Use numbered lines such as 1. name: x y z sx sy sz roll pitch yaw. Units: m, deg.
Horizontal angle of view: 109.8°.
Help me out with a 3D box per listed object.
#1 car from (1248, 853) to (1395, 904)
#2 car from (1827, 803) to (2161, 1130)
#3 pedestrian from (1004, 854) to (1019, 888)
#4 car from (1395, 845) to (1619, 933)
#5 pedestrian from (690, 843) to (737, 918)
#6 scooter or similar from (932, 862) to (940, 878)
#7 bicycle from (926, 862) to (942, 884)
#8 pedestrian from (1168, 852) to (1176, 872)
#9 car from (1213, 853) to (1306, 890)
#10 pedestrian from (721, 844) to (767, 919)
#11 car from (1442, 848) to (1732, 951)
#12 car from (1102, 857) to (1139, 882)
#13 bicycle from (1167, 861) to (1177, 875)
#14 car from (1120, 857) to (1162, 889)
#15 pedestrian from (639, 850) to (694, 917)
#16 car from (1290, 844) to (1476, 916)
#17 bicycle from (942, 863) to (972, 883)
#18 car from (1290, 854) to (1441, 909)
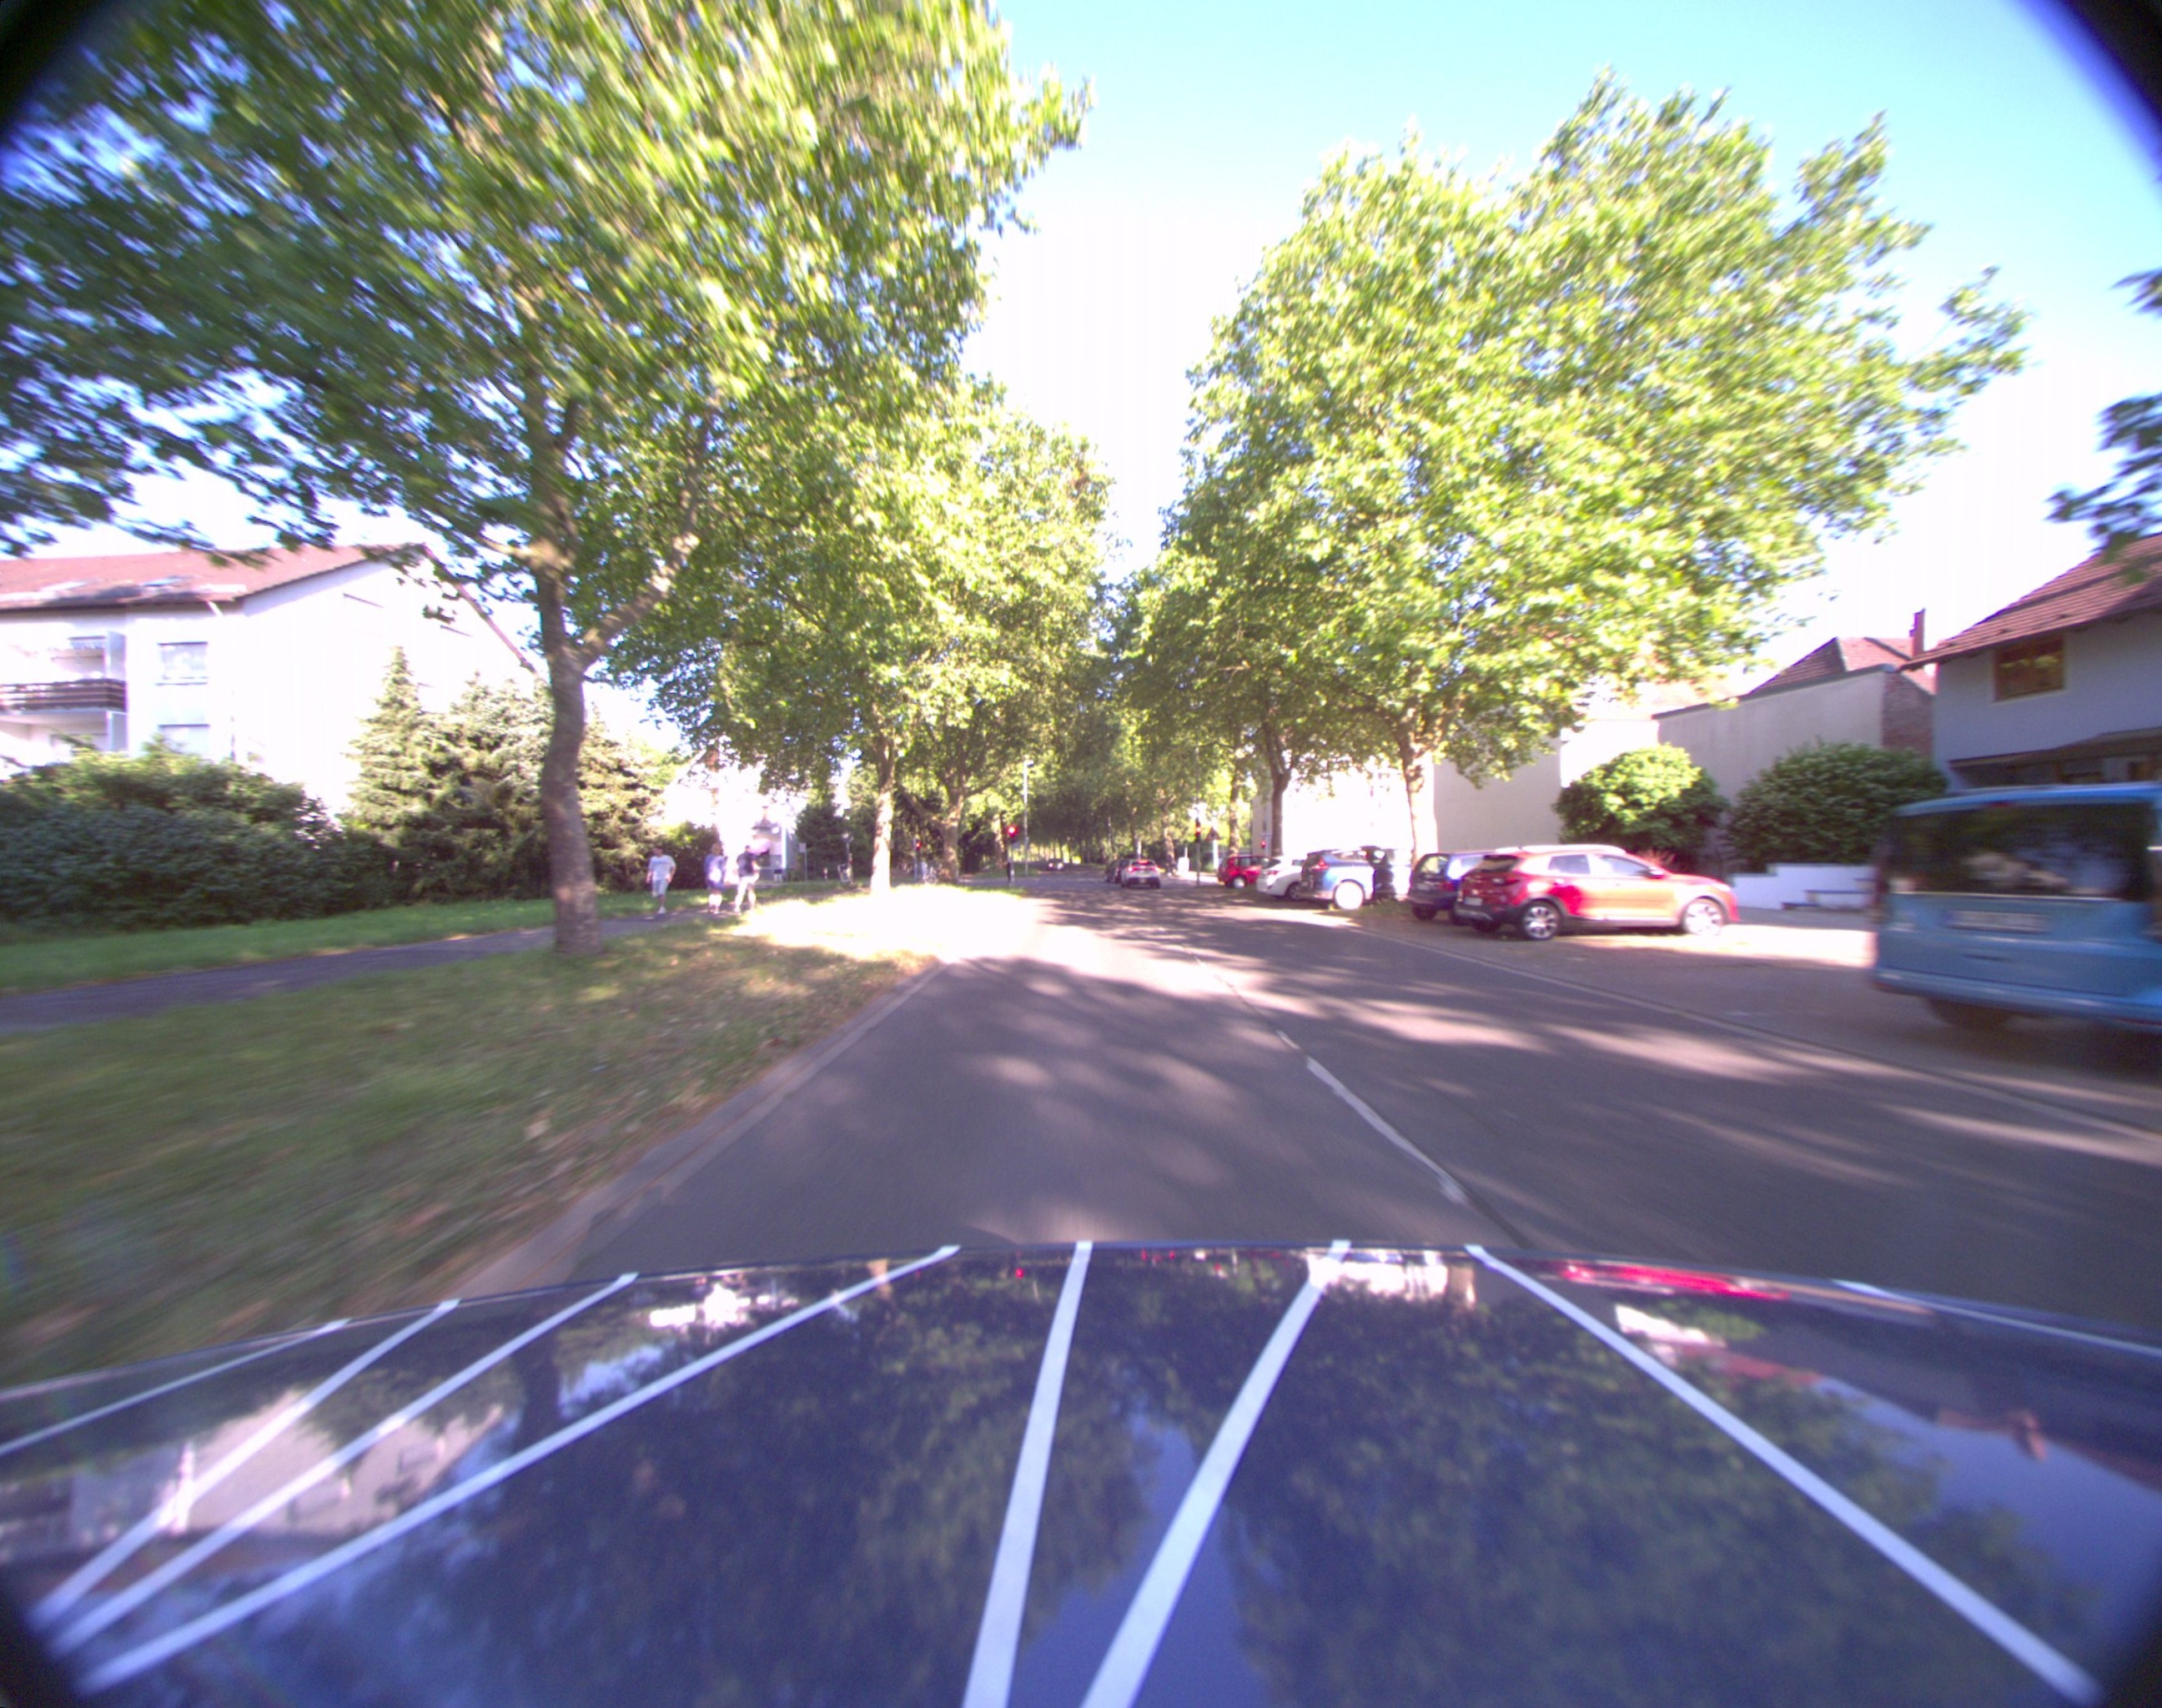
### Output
1. car: 7.814 0.769 24.887 4.173 1.492 1.875 -2 0 -3
2. car: 8.124 0.542 5.077 4.397 1.813 1.995 -2 0 -3
3. pedestrian: -3.544 0.877 38.701 0.636 1.709 0.825 2 0 -9
4. car: 8.421 0.660 15.192 3.522 1.508 1.726 -2 0 -5
5. pedestrian: -9.316 0.659 19.261 0.756 1.836 0.802 -1 0 2
6. scooter or similar: -11.152 1.250 58.519 0.383 1.189 1.254 -2 0 -4
7. bicycle: -7.624 0.975 39.313 0.447 1.076 2.004 1 -2 -22
8. pedestrian: 7.110 0.656 59.535 0.510 1.523 1.033 0 2 -2
9. car: 8.145 0.770 34.828 3.775 1.526 1.831 -1 0 -4
10. pedestrian: -8.452 0.671 19.091 0.763 1.835 0.787 -1 0 2
11. car: 8.292 0.708 12.690 3.651 1.508 1.781 -1 0 -1
12. car: 2.404 0.921 46.807 1.731 1.455 4.066 0 0 -5
13. bicycle: 7.120 1.074 59.694 0.510 1.036 2.152 1 2 -1
14. car: 3.015 0.929 38.860 1.721 1.492 4.093 -1 0 -1
15. pedestrian: -10.476 0.733 19.217 0.780 1.640 0.940 0 0 14
16. car: 7.789 0.649 19.844 4.102 1.706 1.831 -1 0 -1
17. bicycle: -6.556 1.021 40.251 1.715 1.028 0.447 -1 -2 34
18. car: 8.289 0.778 22.387 3.768 1.475 1.754 -1 0 -1
